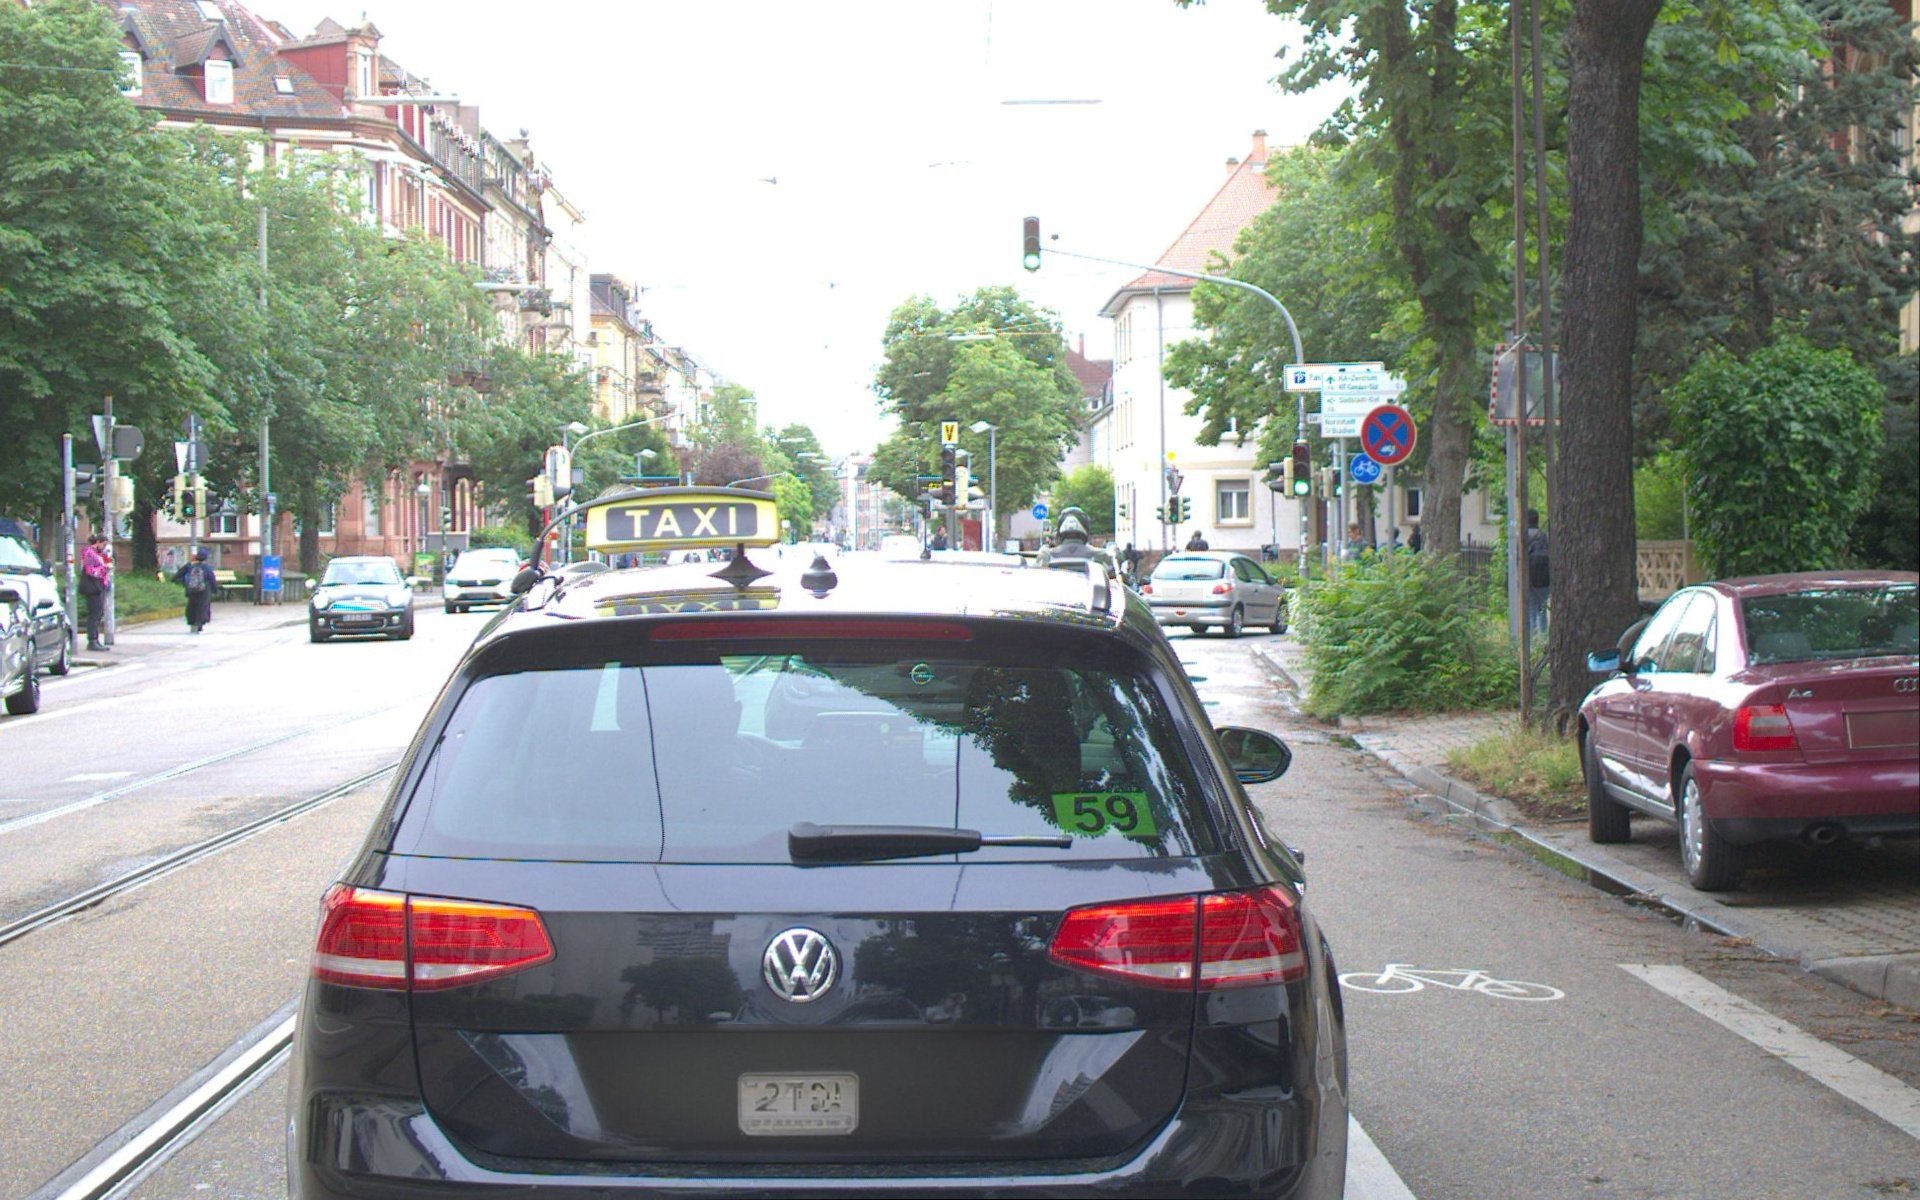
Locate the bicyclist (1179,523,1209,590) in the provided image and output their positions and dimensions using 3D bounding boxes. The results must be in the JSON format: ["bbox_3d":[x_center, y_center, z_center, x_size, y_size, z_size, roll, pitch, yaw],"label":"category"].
[{"bbox_3d":[5.530,-1.031,81.181,0.651,1.563,0.695,-1,1,7],"label":"bicyclist"}]

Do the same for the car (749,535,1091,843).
[{"bbox_3d":[-0.220,0.413,19.371,1.723,1.541,4.000,0,1,-1],"label":"car"}]

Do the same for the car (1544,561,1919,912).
[{"bbox_3d":[4.069,0.562,16.849,1.602,1.394,4.227,-3,1,-1],"label":"car"}]

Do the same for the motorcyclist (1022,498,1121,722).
[{"bbox_3d":[0.854,0.066,26.437,0.703,1.686,0.804,-1,1,-1],"label":"motorcyclist"}]

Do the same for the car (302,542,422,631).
[{"bbox_3d":[-10.208,-0.253,58.879,1.608,1.417,3.487,-2,1,-3],"label":"car"}]

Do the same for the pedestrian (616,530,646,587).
[{"bbox_3d":[-8.759,-1.101,91.467,0.714,1.515,0.590,-1,1,1],"label":"pedestrian"}]

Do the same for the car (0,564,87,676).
[{"bbox_3d":[-12.931,0.226,45.899,1.648,1.357,4.130,2,1,-3],"label":"car"}]

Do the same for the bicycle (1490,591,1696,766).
[{"bbox_3d":[4.489,0.537,24.304,0.433,1.194,1.899,0,0,45],"label":"bicycle"}]

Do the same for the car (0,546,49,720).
[{"bbox_3d":[-10.090,0.332,33.299,1.882,1.606,4.889,-3,1,-9],"label":"car"}]

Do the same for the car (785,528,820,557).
[{"bbox_3d":[-8.416,-3.079,183.773,1.721,1.460,3.864,-1,1,-1],"label":"car"}]

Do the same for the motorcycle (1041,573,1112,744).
[{"bbox_3d":[0.882,0.424,26.318,0.446,1.231,1.907,-1,1,-1],"label":"motorcycle"}]

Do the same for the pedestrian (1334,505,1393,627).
[{"bbox_3d":[6.228,-0.522,53.059,0.602,1.824,0.587,-4,1,-19],"label":"pedestrian"}]

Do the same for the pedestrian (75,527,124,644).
[{"bbox_3d":[-13.651,-0.229,54.551,0.623,1.836,0.610,-1,1,-3],"label":"pedestrian"}]

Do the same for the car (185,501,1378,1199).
[{"bbox_3d":[-0.276,0.588,6.983,1.723,1.541,4.000,0,1,-1],"label":"car"}]

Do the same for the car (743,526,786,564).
[{"bbox_3d":[-8.585,-2.440,150.986,1.721,1.617,3.864,-1,1,-1],"label":"car"}]

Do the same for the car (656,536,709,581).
[{"bbox_3d":[-10.375,-1.551,128.589,1.721,1.617,3.864,-1,1,-1],"label":"car"}]

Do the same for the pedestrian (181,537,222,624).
[{"bbox_3d":[-14.654,-0.380,66.446,0.589,1.657,0.839,-1,1,-2],"label":"pedestrian"}]

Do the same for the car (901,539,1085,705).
[{"bbox_3d":[0.289,0.169,34.310,1.723,1.541,4.000,0,1,-1],"label":"car"}]

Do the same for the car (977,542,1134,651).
[{"bbox_3d":[1.376,-0.080,48.171,1.892,1.403,3.999,-1,1,6],"label":"car"}]

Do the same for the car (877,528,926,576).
[{"bbox_3d":[-2.491,-2.045,147.110,2.033,2.007,4.000,0,1,-1],"label":"car"}]

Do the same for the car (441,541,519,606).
[{"bbox_3d":[-11.658,-0.661,83.693,1.698,1.491,3.931,-2,1,-6],"label":"car"}]

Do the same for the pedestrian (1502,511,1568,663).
[{"bbox_3d":[6.941,-0.160,41.509,0.632,1.808,0.726,-1,1,-3],"label":"pedestrian"}]

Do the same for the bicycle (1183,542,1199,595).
[{"bbox_3d":[5.454,-0.750,81.095,0.297,1.219,1.430,-1,1,7],"label":"bicycle"}]

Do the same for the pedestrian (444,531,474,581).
[{"bbox_3d":[-15.380,-1.343,105.569,0.589,1.515,0.647,0,1,35],"label":"pedestrian"}]

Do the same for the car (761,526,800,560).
[{"bbox_3d":[-8.647,-2.762,165.870,1.721,1.617,3.864,-1,1,-1],"label":"car"}]

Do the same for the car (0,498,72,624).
[{"bbox_3d":[-19.970,-0.776,68.310,2.180,2.409,5.377,-2,1,-43],"label":"car"}]

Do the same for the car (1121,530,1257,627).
[{"bbox_3d":[3.850,-0.366,58.307,1.993,1.572,4.000,0,1,-1],"label":"car"}]

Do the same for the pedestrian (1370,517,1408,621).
[{"bbox_3d":[7.727,-0.562,61.891,0.514,1.824,0.417,-3,1,16],"label":"pedestrian"}]
